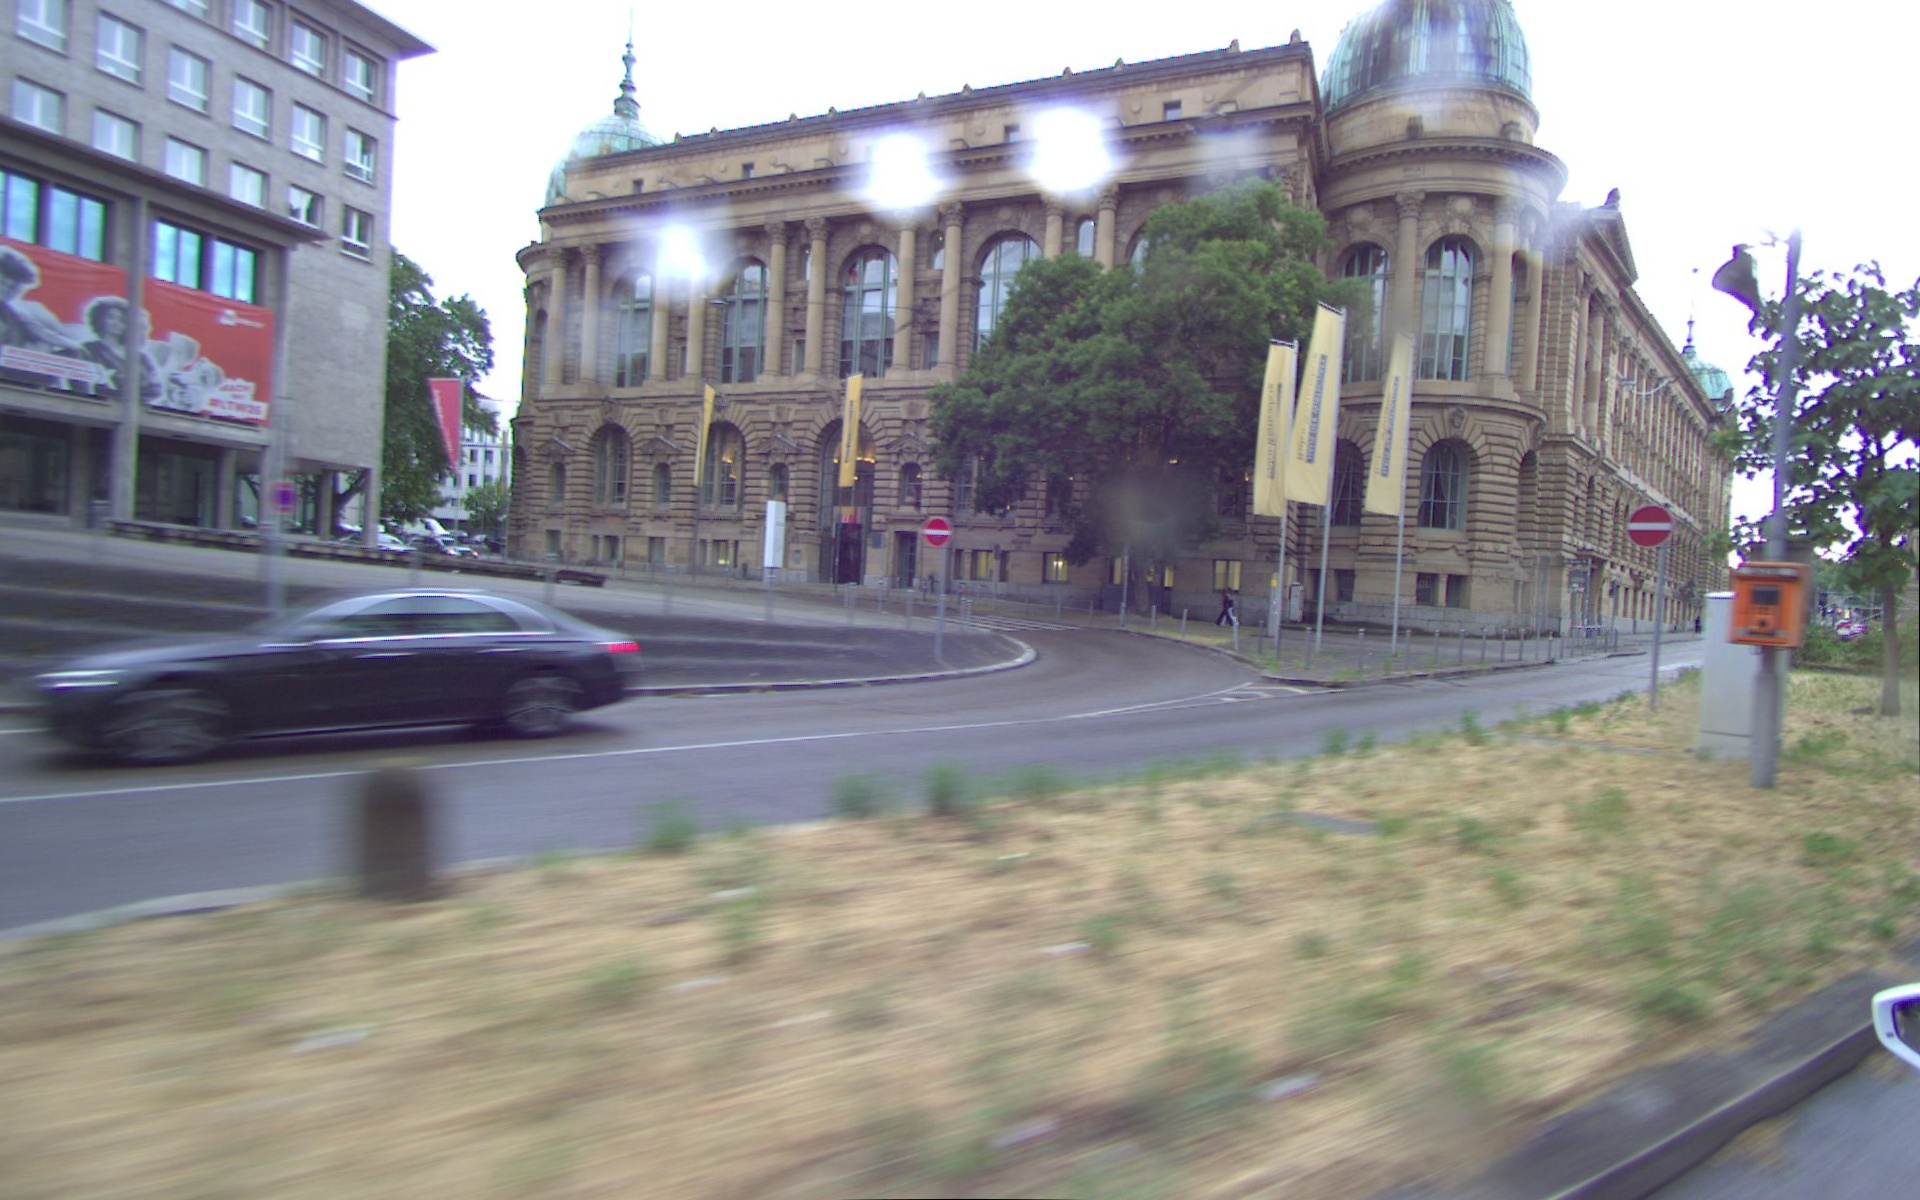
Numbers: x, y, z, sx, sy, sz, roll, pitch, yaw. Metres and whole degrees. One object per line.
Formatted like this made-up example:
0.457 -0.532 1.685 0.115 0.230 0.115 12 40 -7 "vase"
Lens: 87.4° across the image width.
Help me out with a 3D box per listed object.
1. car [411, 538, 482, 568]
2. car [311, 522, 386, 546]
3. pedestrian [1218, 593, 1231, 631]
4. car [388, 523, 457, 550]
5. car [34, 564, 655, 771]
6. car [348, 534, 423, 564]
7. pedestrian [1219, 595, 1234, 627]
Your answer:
-27.817 -2.560 54.444 3.555 1.422 1.617 3 1 27 "car"
-62.010 -6.726 101.974 6.168 1.983 2.314 3 1 1 "car"
11.079 0.495 42.131 0.379 1.549 0.441 3 1 24 "pedestrian"
-58.684 -6.911 109.783 6.168 2.595 2.314 3 1 1 "car"
-5.673 0.552 9.738 4.810 1.513 1.974 3 0 -44 "car"
-28.796 -2.556 50.309 3.557 1.265 1.617 3 1 29 "car"
11.377 0.462 42.853 0.433 1.363 0.644 3 1 24 "pedestrian"
